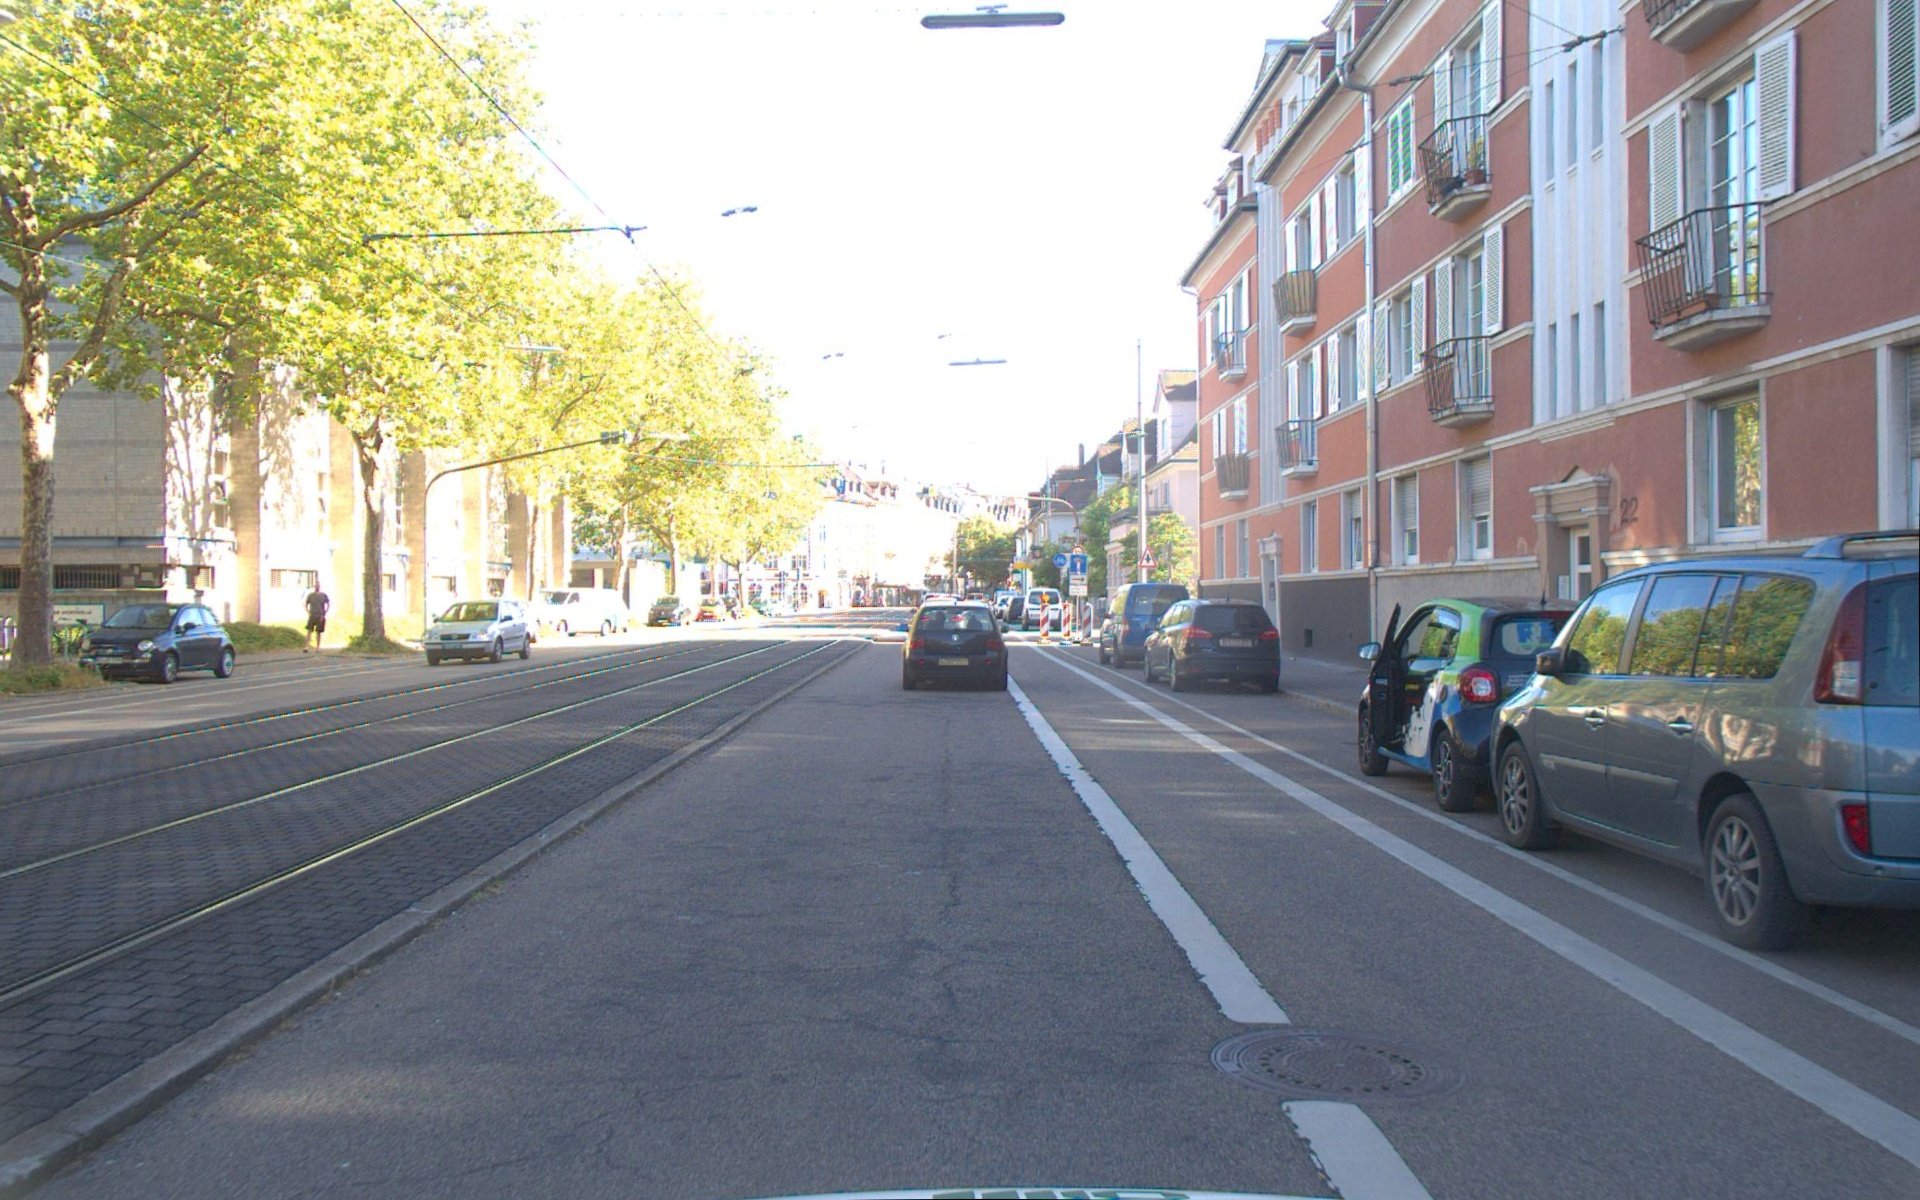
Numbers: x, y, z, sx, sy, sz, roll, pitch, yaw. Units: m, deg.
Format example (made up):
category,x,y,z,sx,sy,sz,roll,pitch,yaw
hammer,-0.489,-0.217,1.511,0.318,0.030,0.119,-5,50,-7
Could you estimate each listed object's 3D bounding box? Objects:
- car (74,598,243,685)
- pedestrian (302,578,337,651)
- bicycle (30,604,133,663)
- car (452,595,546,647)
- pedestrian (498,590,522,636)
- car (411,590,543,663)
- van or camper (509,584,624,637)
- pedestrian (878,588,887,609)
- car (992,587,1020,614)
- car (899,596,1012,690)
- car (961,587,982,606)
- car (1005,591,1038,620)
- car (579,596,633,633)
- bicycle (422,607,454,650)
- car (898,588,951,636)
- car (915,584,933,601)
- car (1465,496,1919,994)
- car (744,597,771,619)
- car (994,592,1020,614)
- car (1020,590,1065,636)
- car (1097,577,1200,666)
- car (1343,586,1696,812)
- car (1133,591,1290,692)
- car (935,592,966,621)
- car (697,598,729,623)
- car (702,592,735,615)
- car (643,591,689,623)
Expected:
category,x,y,z,sx,sy,sz,roll,pitch,yaw
car,-15.211,0.746,31.561,1.476,1.479,3.464,-1,1,1
pedestrian,-17.059,0.381,44.038,0.776,1.902,0.664,1,0,-29
bicycle,-20.098,0.760,37.868,1.967,1.301,0.664,1,0,-1
car,-15.476,0.666,55.776,1.971,1.600,4.691,1,1,-2
pedestrian,-18.159,0.522,66.736,0.780,1.852,0.670,1,0,-1
car,-11.274,0.580,38.862,1.716,1.544,4.072,-2,0,2
van or camper,-15.657,0.387,66.124,2.017,1.983,5.191,1,1,19
pedestrian,-10.154,-0.157,215.799,1.073,2.706,0.959,1,0,1
car,3.137,0.023,114.493,1.780,1.830,3.999,0,0,-1
car,-0.135,0.654,27.472,1.713,1.399,3.999,-1,1,-2
car,0.948,-0.267,134.689,1.603,1.498,3.729,0,0,-1
car,3.412,0.305,91.881,1.627,1.552,4.035,0,0,-1
car,-15.700,0.623,73.585,1.542,1.533,4.090,1,1,-1
bicycle,-15.832,0.848,50.189,0.570,1.230,1.651,1,0,-7
car,-1.190,0.381,56.361,1.713,1.564,3.891,-1,1,0
car,-3.327,-0.675,154.105,1.603,1.498,3.729,-4,0,-1
car,4.269,0.539,8.689,1.717,1.888,4.815,0,0,-1
car,-16.599,0.613,135.727,1.846,1.698,3.803,1,1,-2
car,3.106,0.201,109.748,1.548,1.399,3.999,0,0,-1
car,3.579,0.547,72.125,1.723,1.870,3.547,1,1,-1
car,4.116,0.435,36.702,1.668,1.842,4.270,0,0,-2
car,4.325,0.680,13.373,1.598,1.538,3.717,1,0,0
car,4.192,0.645,28.330,1.719,1.538,4.760,1,0,-3
car,-0.496,0.347,87.394,1.603,1.498,3.729,0,0,-1
car,-15.957,0.666,106.921,1.538,1.560,3.571,0,-1,-1
car,-16.942,0.242,116.118,1.756,1.491,3.835,2,0,-1
car,-16.022,0.381,90.329,1.849,1.695,3.999,0,0,-1
